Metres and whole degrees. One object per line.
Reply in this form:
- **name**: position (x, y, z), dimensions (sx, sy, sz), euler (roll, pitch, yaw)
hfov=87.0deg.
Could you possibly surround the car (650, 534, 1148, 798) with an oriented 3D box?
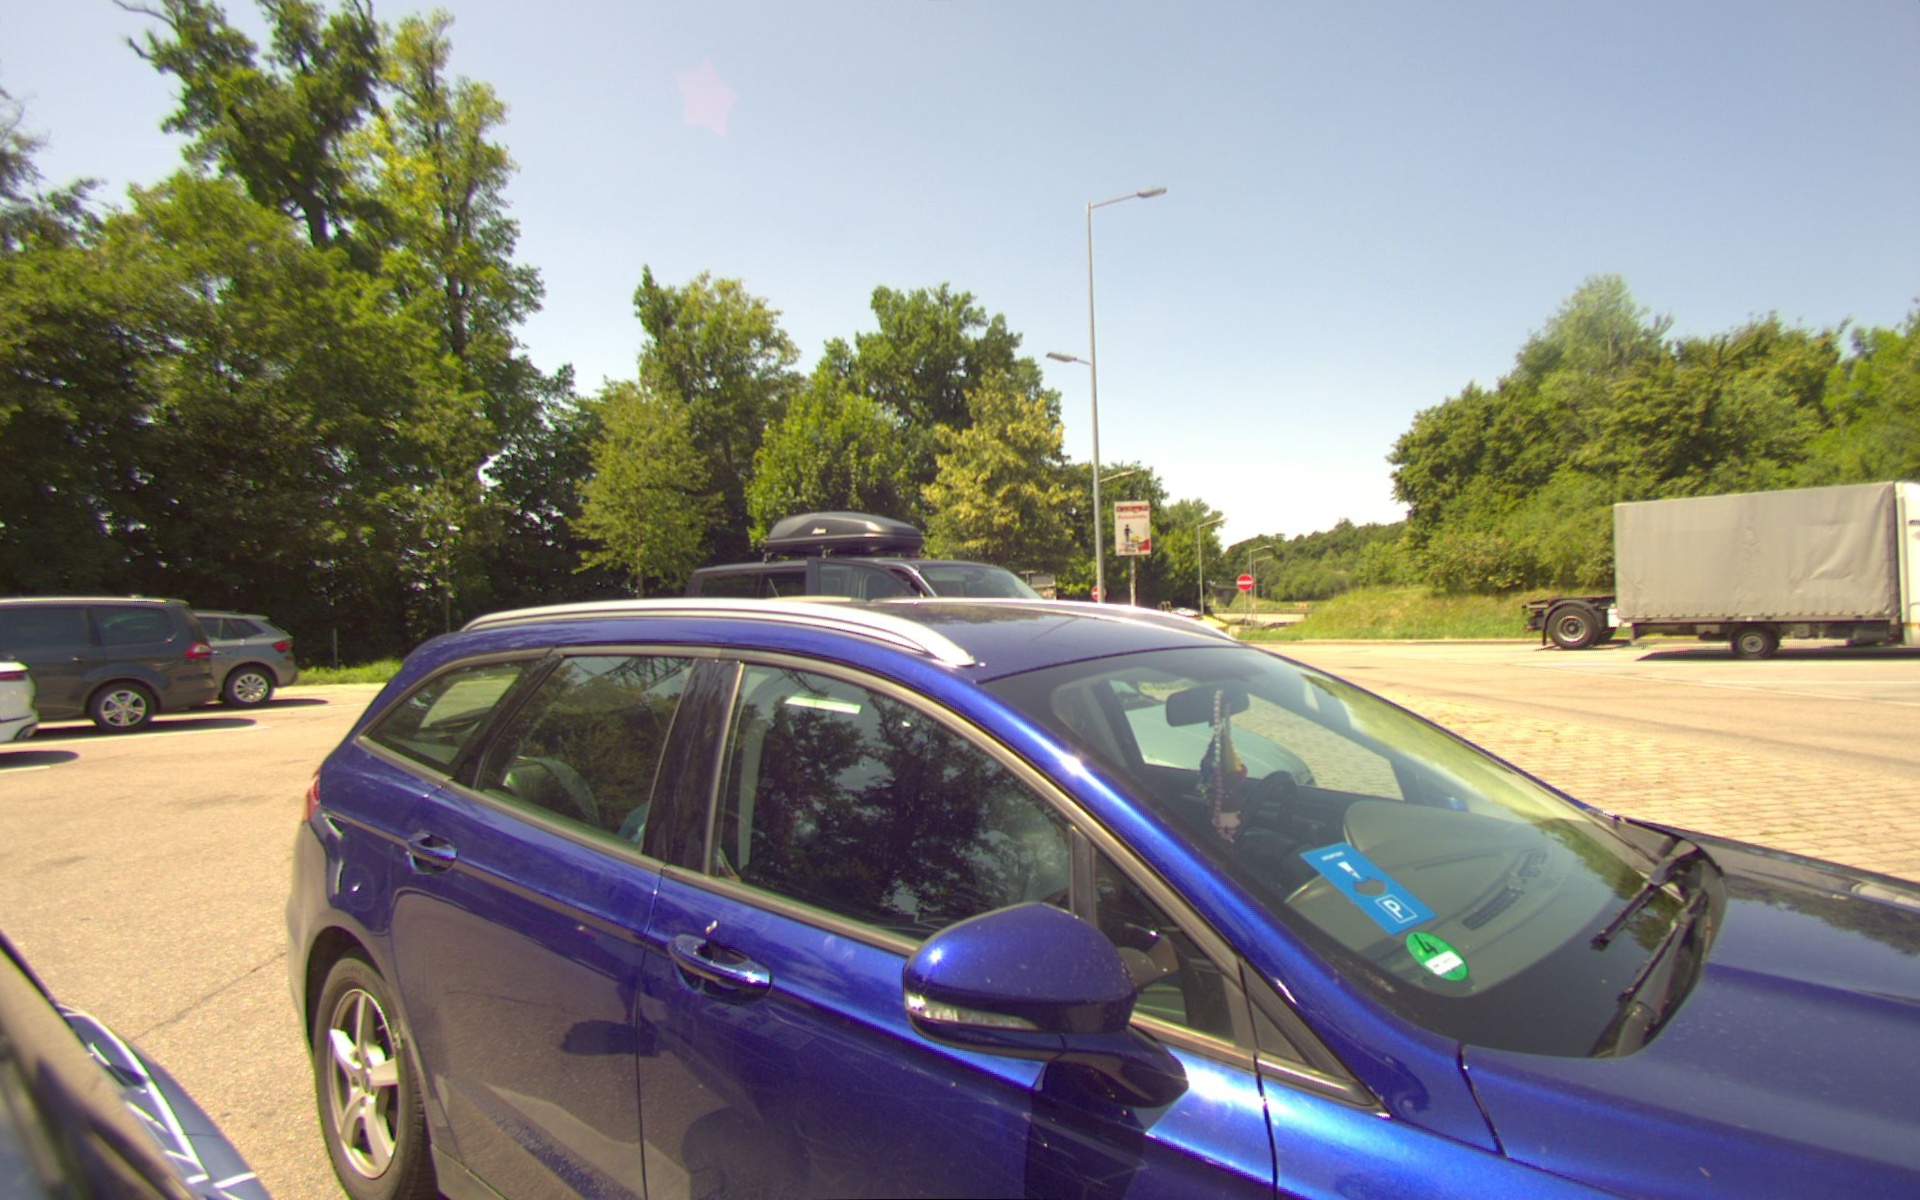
- **car**: position (-0.727, 0.534, 9.414), dimensions (4.426, 1.875, 2.022), euler (-2, -1, 40)

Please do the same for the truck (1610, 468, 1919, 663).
- **truck**: position (16.715, -0.615, 18.843), dimensions (7.308, 3.258, 2.294), euler (-5, -2, 43)

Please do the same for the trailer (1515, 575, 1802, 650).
- **trailer**: position (16.335, 0.350, 23.916), dimensions (5.393, 1.608, 1.576), euler (-2, -1, 41)

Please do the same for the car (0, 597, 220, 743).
- **car**: position (-11.708, 0.836, 12.583), dimensions (3.830, 1.703, 1.883), euler (0, -2, -45)

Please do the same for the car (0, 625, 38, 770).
- **car**: position (-10.954, 0.943, 9.194), dimensions (3.753, 1.377, 1.804), euler (0, -1, -45)

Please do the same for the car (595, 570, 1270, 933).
- **car**: position (-0.359, 0.650, 5.803), dimensions (3.739, 1.424, 1.587), euler (-2, -1, 40)

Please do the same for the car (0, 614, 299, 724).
- **car**: position (-12.605, 0.973, 15.622), dimensions (3.753, 1.488, 1.743), euler (0, -1, -45)

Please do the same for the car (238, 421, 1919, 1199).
- **car**: position (0.245, 0.650, 2.081), dimensions (4.427, 1.455, 1.763), euler (-2, -1, 40)
